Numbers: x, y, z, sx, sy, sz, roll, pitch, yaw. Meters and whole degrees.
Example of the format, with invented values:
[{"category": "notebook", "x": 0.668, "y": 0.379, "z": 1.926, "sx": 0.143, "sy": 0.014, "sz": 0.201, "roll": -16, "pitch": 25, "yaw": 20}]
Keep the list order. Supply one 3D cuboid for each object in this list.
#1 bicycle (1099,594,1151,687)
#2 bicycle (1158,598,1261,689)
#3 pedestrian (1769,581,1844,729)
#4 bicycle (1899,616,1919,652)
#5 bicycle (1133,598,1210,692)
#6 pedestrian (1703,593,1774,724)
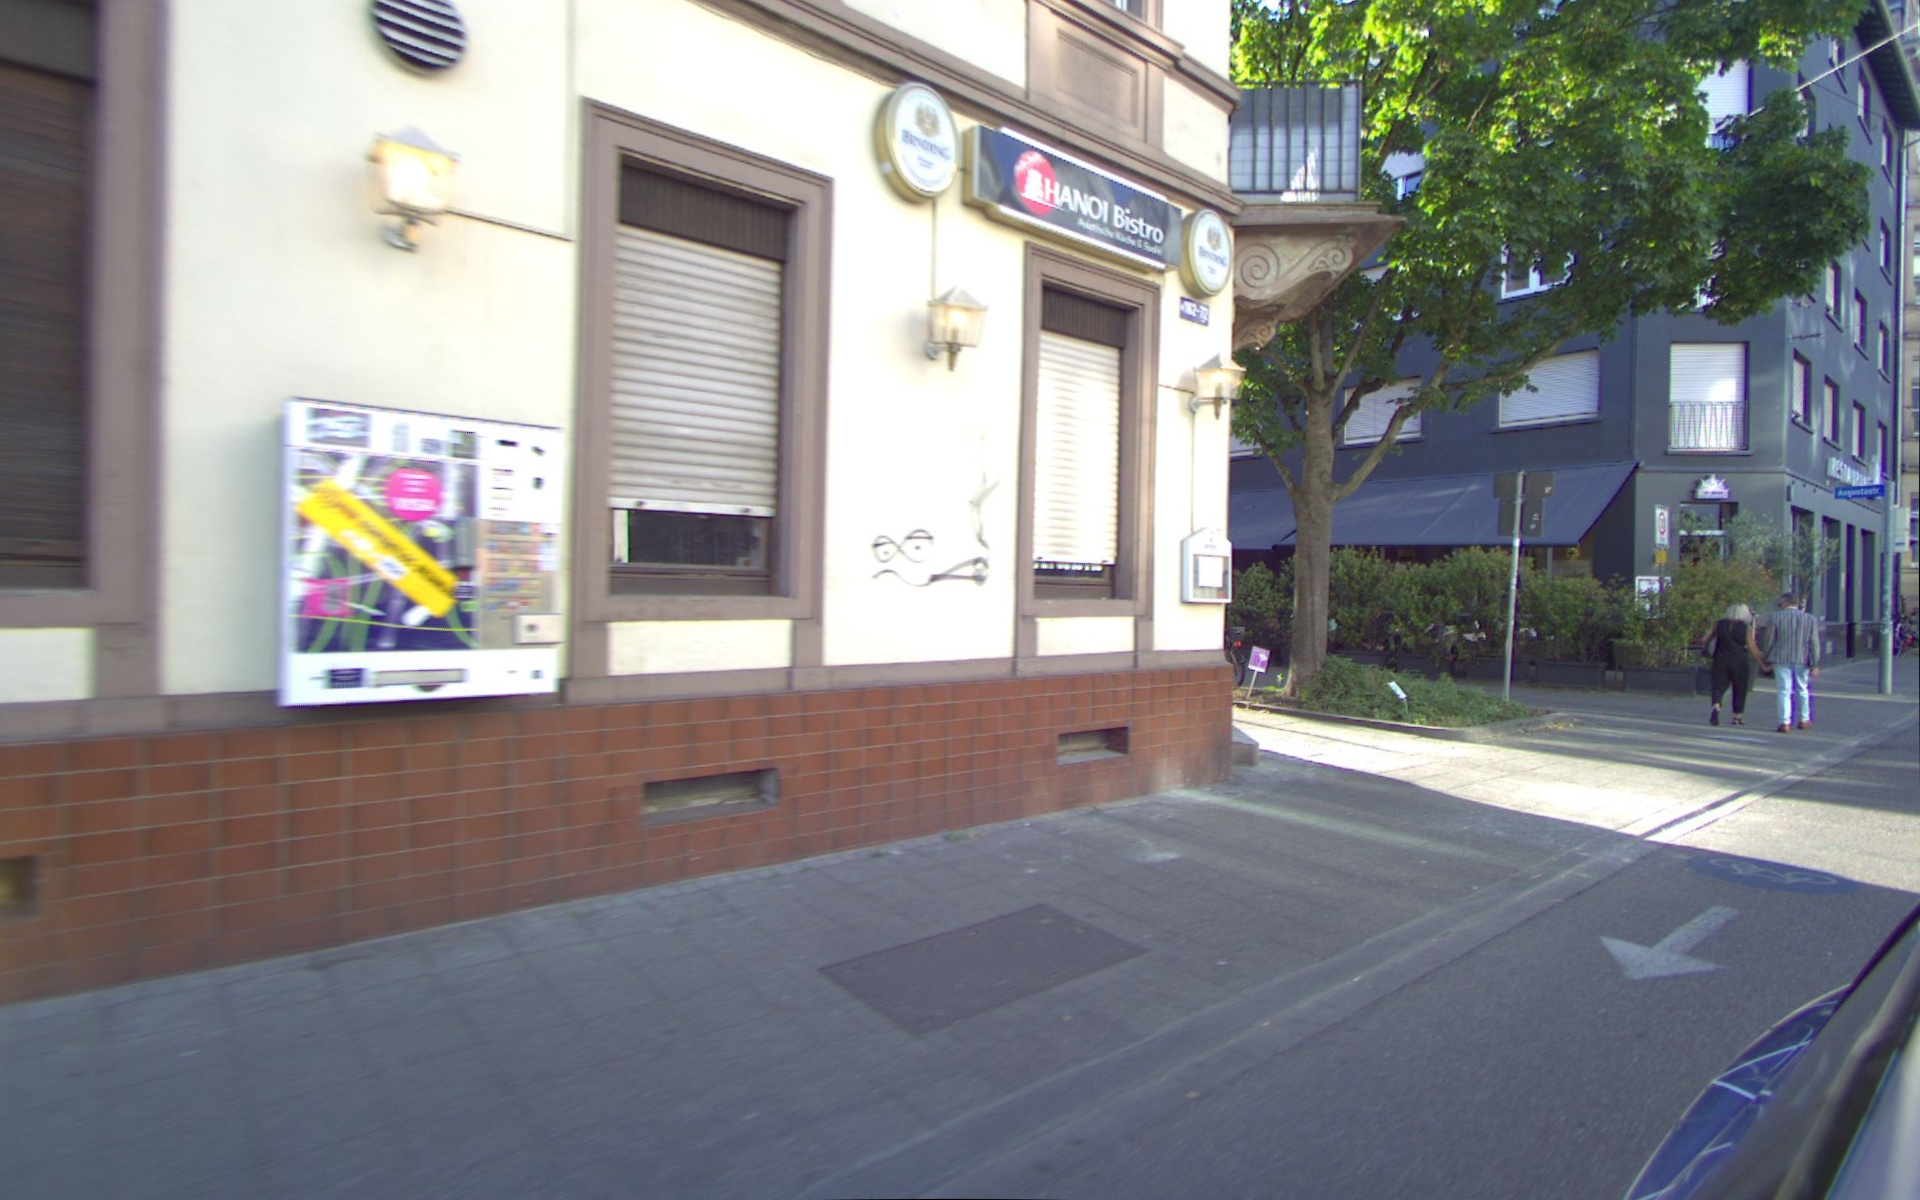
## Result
[{"category": "bicycle", "x": 2.551, "y": 0.592, "z": 15.791, "sx": 0.499, "sy": 1.337, "sz": 1.956, "roll": 1, "pitch": 1, "yaw": 1}, {"category": "bicycle", "x": 3.918, "y": 0.649, "z": 16.070, "sx": 0.498, "sy": 1.337, "sz": 1.960, "roll": 0, "pitch": 1, "yaw": -23}, {"category": "pedestrian", "x": 10.402, "y": 0.646, "z": 12.433, "sx": 0.649, "sy": 1.738, "sz": 0.793, "roll": 1, "pitch": 0, "yaw": 43}, {"category": "bicycle", "x": 25.686, "y": 0.910, "z": 27.212, "sx": 1.818, "sy": 0.924, "sz": 0.389, "roll": 0, "pitch": -1, "yaw": -39}, {"category": "bicycle", "x": 3.250, "y": 0.656, "z": 15.694, "sx": 0.498, "sy": 1.337, "sz": 1.960, "roll": 0, "pitch": 1, "yaw": -9}, {"category": "pedestrian", "x": 9.910, "y": 0.714, "z": 12.881, "sx": 0.649, "sy": 1.598, "sz": 0.672, "roll": 1, "pitch": 0, "yaw": 43}]
